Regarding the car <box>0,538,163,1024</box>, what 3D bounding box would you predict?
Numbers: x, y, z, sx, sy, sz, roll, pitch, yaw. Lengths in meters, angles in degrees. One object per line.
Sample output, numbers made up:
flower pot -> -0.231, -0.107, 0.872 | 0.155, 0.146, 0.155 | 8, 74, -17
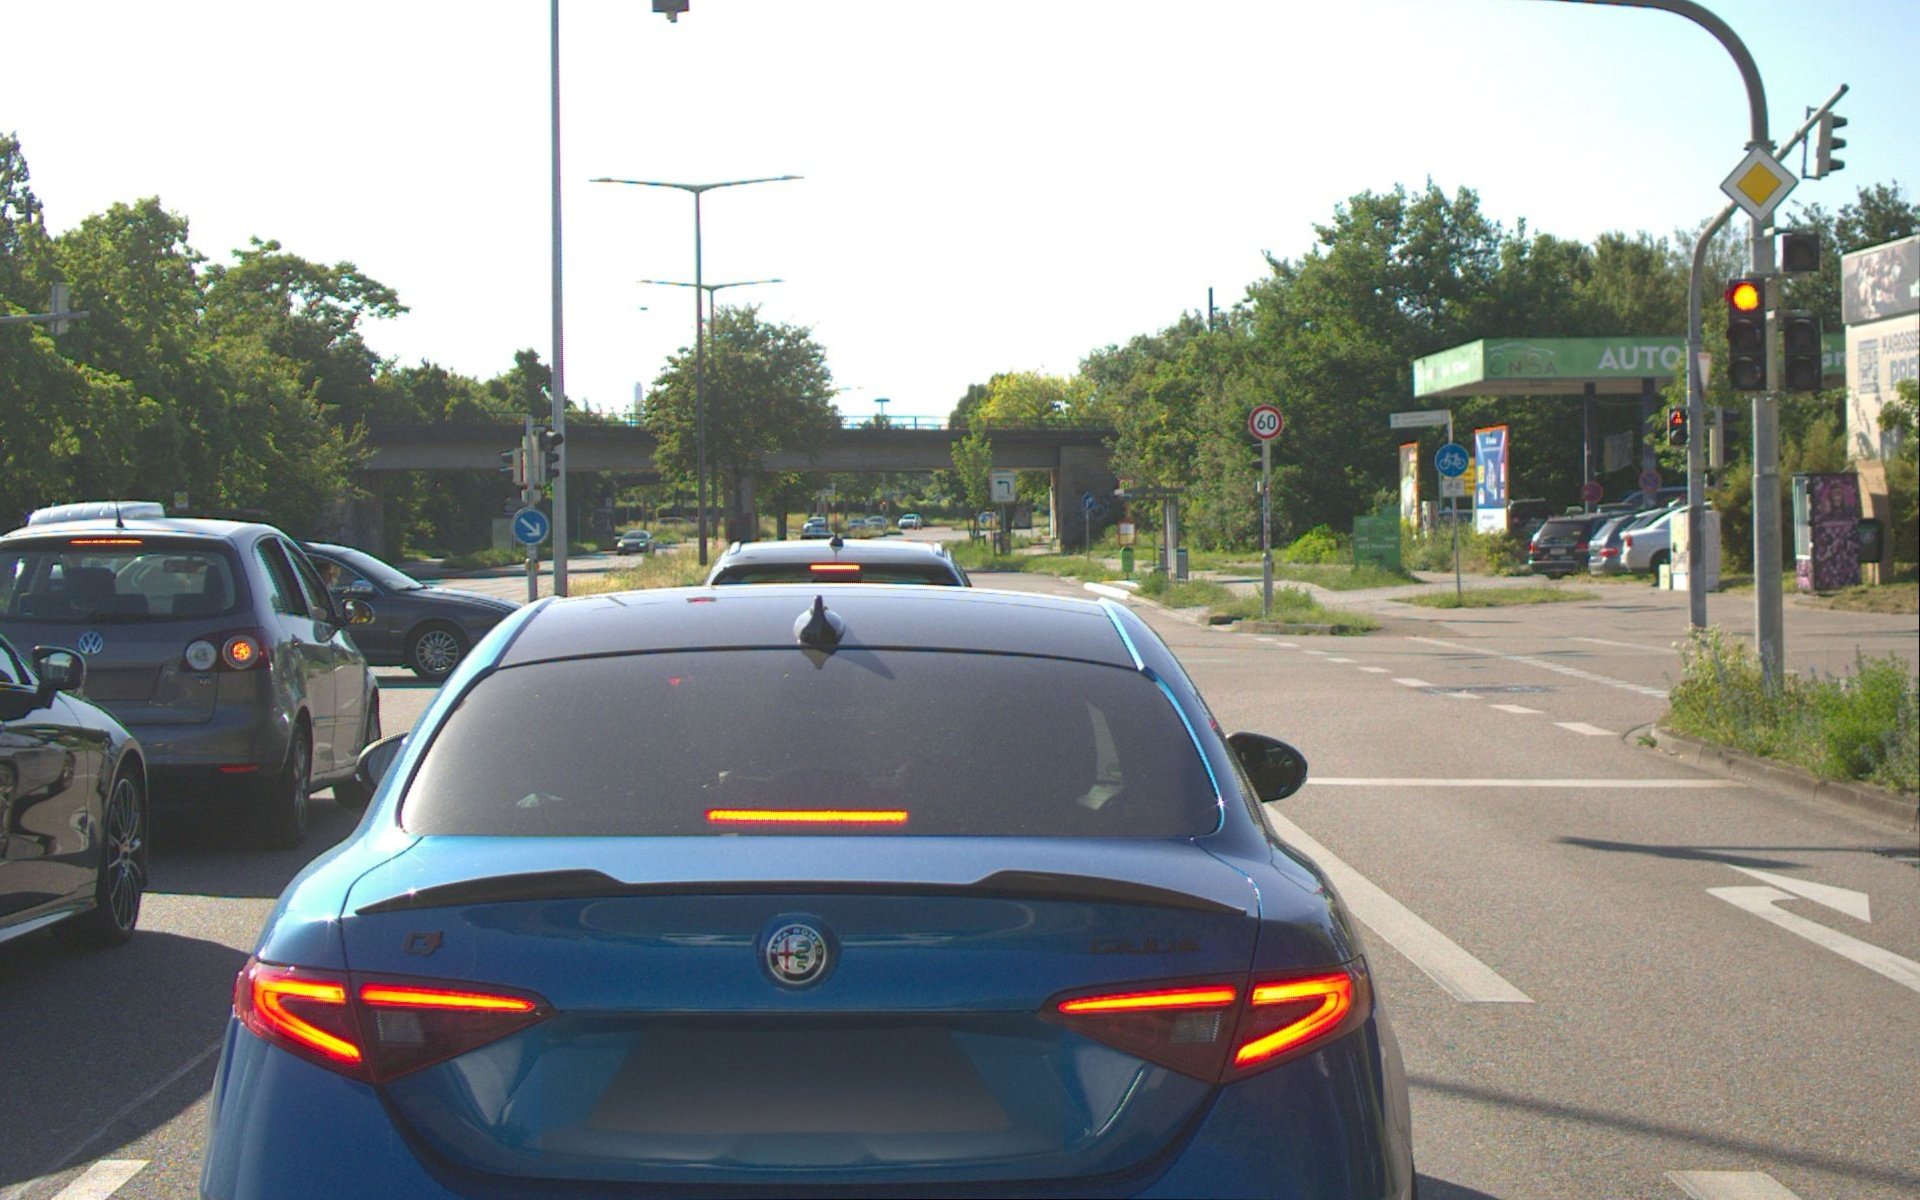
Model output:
car -> -3.827, 0.540, 10.620 | 1.796, 1.485, 4.476 | 1, 1, -2

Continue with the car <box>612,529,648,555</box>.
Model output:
car -> -20.061, -3.524, 209.222 | 1.759, 1.485, 4.478 | -2, 1, 0

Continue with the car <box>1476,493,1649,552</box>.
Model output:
car -> 17.034, -2.195, 97.322 | 4.551, 1.485, 1.765 | -2, 1, 1

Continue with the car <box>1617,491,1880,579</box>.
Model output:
car -> 14.770, -1.211, 64.575 | 4.489, 1.449, 1.858 | -2, 1, 1

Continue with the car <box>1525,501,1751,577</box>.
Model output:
car -> 14.589, -1.314, 74.158 | 4.489, 1.449, 1.858 | -2, 1, 1

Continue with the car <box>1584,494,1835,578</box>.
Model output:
car -> 14.653, -1.249, 67.354 | 4.489, 1.449, 1.858 | -2, 1, 1

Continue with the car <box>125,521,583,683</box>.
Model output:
car -> -6.294, 0.010, 36.011 | 4.411, 1.485, 1.765 | -2, 1, 1

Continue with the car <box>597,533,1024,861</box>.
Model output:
car -> -0.717, 0.404, 17.243 | 1.850, 1.413, 4.403 | 1, 1, -2

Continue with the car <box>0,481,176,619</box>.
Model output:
car -> -16.892, -0.965, 66.618 | 2.022, 2.439, 5.822 | -4, 1, -1

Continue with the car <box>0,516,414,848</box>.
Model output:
car -> -3.993, 0.346, 17.719 | 1.759, 1.485, 4.403 | 1, 1, -2

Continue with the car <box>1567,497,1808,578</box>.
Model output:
car -> 14.809, -1.266, 70.108 | 4.489, 1.449, 1.858 | -2, 1, 1

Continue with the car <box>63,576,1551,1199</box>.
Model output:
car -> -0.260, 0.680, 6.610 | 1.895, 1.413, 4.403 | 1, 1, -2

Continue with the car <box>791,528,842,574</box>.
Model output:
car -> -5.811, -1.978, 139.475 | 1.891, 1.809, 4.000 | 1, 1, -1
